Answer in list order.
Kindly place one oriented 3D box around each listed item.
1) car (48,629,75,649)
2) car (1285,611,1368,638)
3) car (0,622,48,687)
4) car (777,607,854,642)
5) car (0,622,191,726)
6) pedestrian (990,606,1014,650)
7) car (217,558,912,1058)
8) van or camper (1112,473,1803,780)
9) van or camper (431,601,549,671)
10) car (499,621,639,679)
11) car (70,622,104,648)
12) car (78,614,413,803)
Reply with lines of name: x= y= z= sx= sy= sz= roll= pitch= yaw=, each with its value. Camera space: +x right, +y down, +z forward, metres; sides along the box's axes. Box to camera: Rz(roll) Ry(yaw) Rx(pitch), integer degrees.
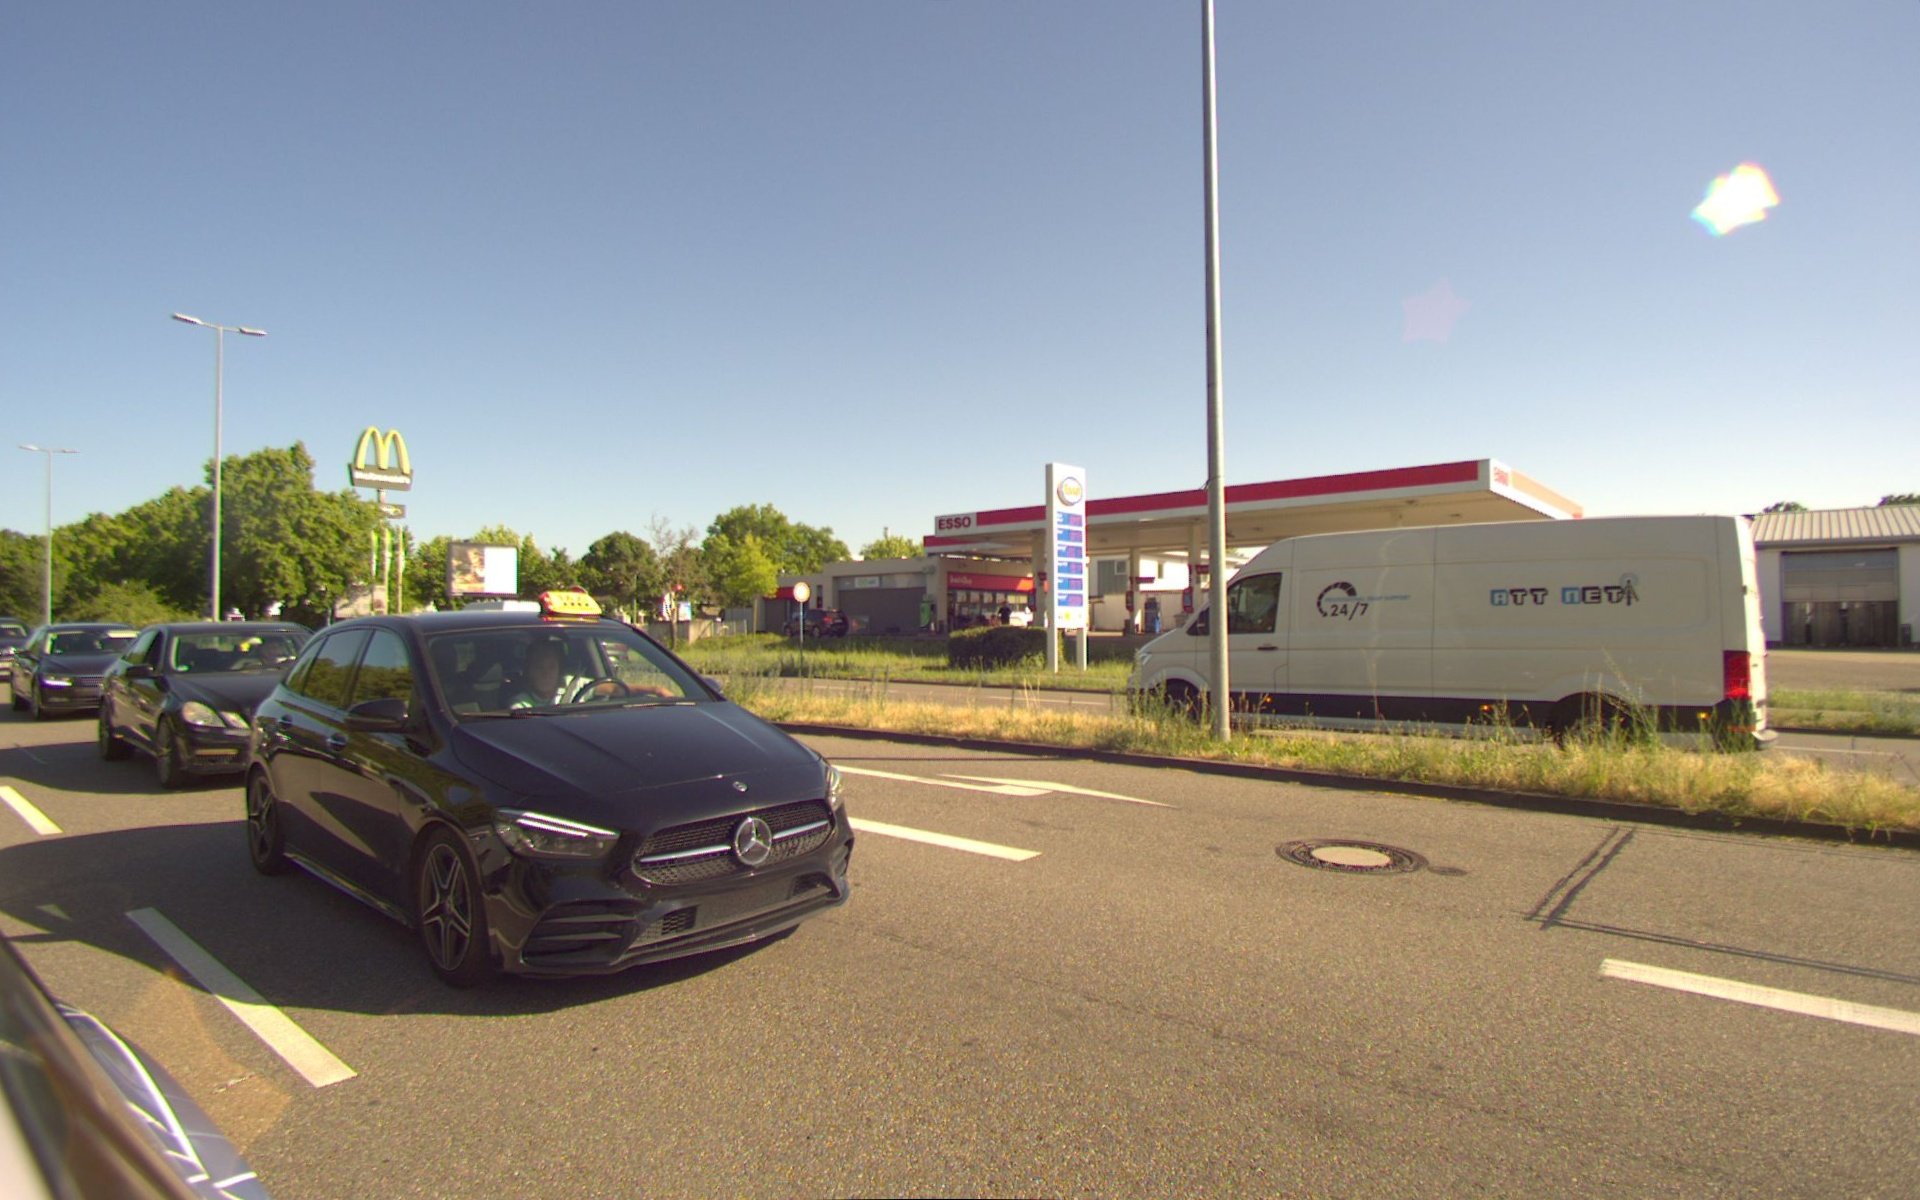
car: x=-95.772 y=4.159 z=107.862 sx=1.970 sy=2.029 sz=4.003 roll=-1 pitch=0 yaw=-44
car: x=19.846 y=1.338 z=54.864 sx=3.844 sy=1.450 sz=1.730 roll=-2 pitch=-2 yaw=39
car: x=-25.200 y=1.380 z=26.199 sx=4.401 sy=1.600 sz=1.838 roll=-2 pitch=-2 yaw=41
car: x=-7.889 y=1.333 z=55.086 sx=4.117 sy=1.783 sz=1.972 roll=-2 pitch=-1 yaw=43
car: x=-14.428 y=1.128 z=16.769 sx=4.401 sy=1.492 sz=1.838 roll=-2 pitch=-2 yaw=41
pedestrian: x=1.958 y=1.303 z=47.048 sx=0.840 sy=2.029 sz=0.694 roll=-2 pitch=-2 yaw=41
car: x=-2.365 y=0.734 z=5.405 sx=4.187 sy=1.638 sz=1.780 roll=-2 pitch=-2 yaw=42
van or camper: x=5.209 y=0.310 z=11.590 sx=6.750 sy=2.592 sz=2.155 roll=-2 pitch=-2 yaw=41
van or camper: x=-19.307 y=1.482 z=41.429 sx=5.952 sy=2.671 sz=1.973 roll=-1 pitch=-4 yaw=40
car: x=-12.057 y=1.529 z=31.120 sx=4.609 sy=1.666 sz=1.973 roll=-2 pitch=-4 yaw=40
car: x=-72.336 y=2.835 z=83.814 sx=1.970 sy=2.029 sz=4.004 roll=-1 pitch=0 yaw=-43
car: x=-7.460 y=0.941 z=10.396 sx=4.401 sy=1.535 sz=1.838 roll=-2 pitch=-2 yaw=41
